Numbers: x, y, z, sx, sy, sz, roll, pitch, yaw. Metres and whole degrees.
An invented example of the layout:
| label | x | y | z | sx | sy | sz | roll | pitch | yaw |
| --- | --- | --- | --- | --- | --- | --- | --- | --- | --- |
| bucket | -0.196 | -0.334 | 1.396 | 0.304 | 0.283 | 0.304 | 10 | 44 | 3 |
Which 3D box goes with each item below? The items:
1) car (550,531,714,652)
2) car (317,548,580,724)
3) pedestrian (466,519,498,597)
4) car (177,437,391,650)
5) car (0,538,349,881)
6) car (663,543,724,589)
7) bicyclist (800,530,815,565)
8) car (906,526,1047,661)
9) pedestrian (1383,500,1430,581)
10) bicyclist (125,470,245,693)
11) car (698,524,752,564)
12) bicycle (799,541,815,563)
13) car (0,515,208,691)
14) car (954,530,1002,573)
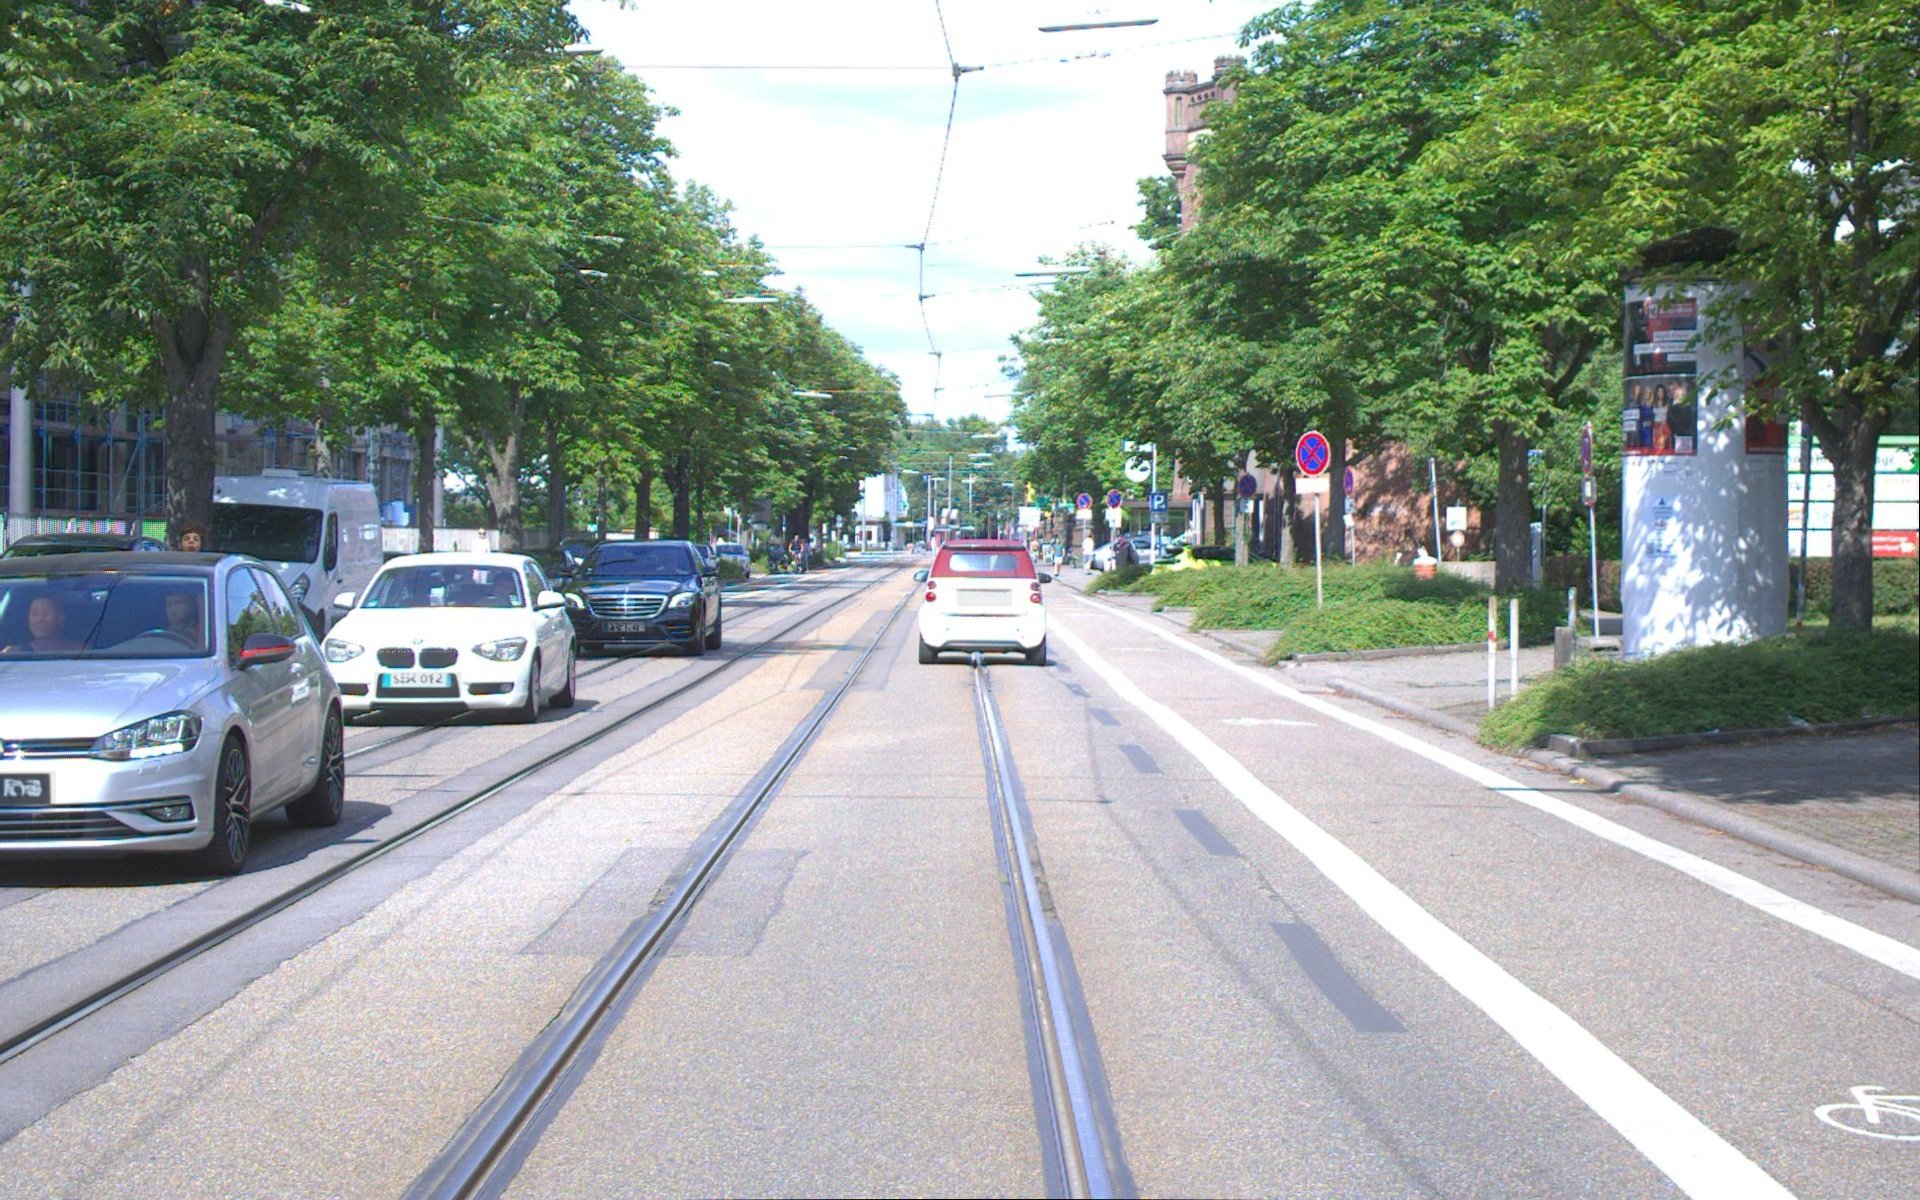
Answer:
| label | x | y | z | sx | sy | sz | roll | pitch | yaw |
| --- | --- | --- | --- | --- | --- | --- | --- | --- | --- |
| car | -4.315 | -0.139 | 45.802 | 1.800 | 1.503 | 4.536 | 1 | 1 | -1 |
| car | -4.309 | 0.256 | 29.518 | 1.686 | 1.401 | 4.227 | 0 | 1 | -1 |
| pedestrian | -12.471 | -1.091 | 89.630 | 0.802 | 2.007 | 0.485 | 1 | 1 | -9 |
| car | -8.946 | -0.749 | 45.906 | 1.769 | 2.630 | 5.322 | 2 | 1 | 0 |
| car | -4.095 | 0.435 | 16.234 | 1.773 | 1.411 | 3.852 | -1 | 1 | -1 |
| car | -9.378 | -1.213 | 121.411 | 1.804 | 1.511 | 4.103 | 2 | 1 | 0 |
| bicyclist | -7.028 | -2.423 | 158.312 | 0.658 | 1.574 | 0.946 | 2 | 1 | -2 |
| car | 0.170 | -0.113 | 43.452 | 1.665 | 1.619 | 3.621 | 0 | 1 | -2 |
| pedestrian | 11.259 | -1.495 | 86.702 | 0.977 | 2.007 | 1.093 | 2 | 1 | -1 |
| bicyclist | -7.117 | -0.169 | 31.612 | 0.876 | 2.007 | 0.834 | -2 | 0 | -1 |
| car | -9.189 | -2.205 | 134.572 | 1.804 | 1.511 | 4.103 | 1 | 1 | 0 |
| bicycle | -7.038 | -2.210 | 158.360 | 0.618 | 0.970 | 1.717 | 1 | 1 | 1 |
| car | -9.079 | -0.013 | 35.242 | 1.804 | 1.656 | 4.103 | 2 | 1 | 0 |
| car | 0.635 | -1.789 | 125.293 | 1.665 | 1.487 | 3.621 | 0 | 2 | -1 |
